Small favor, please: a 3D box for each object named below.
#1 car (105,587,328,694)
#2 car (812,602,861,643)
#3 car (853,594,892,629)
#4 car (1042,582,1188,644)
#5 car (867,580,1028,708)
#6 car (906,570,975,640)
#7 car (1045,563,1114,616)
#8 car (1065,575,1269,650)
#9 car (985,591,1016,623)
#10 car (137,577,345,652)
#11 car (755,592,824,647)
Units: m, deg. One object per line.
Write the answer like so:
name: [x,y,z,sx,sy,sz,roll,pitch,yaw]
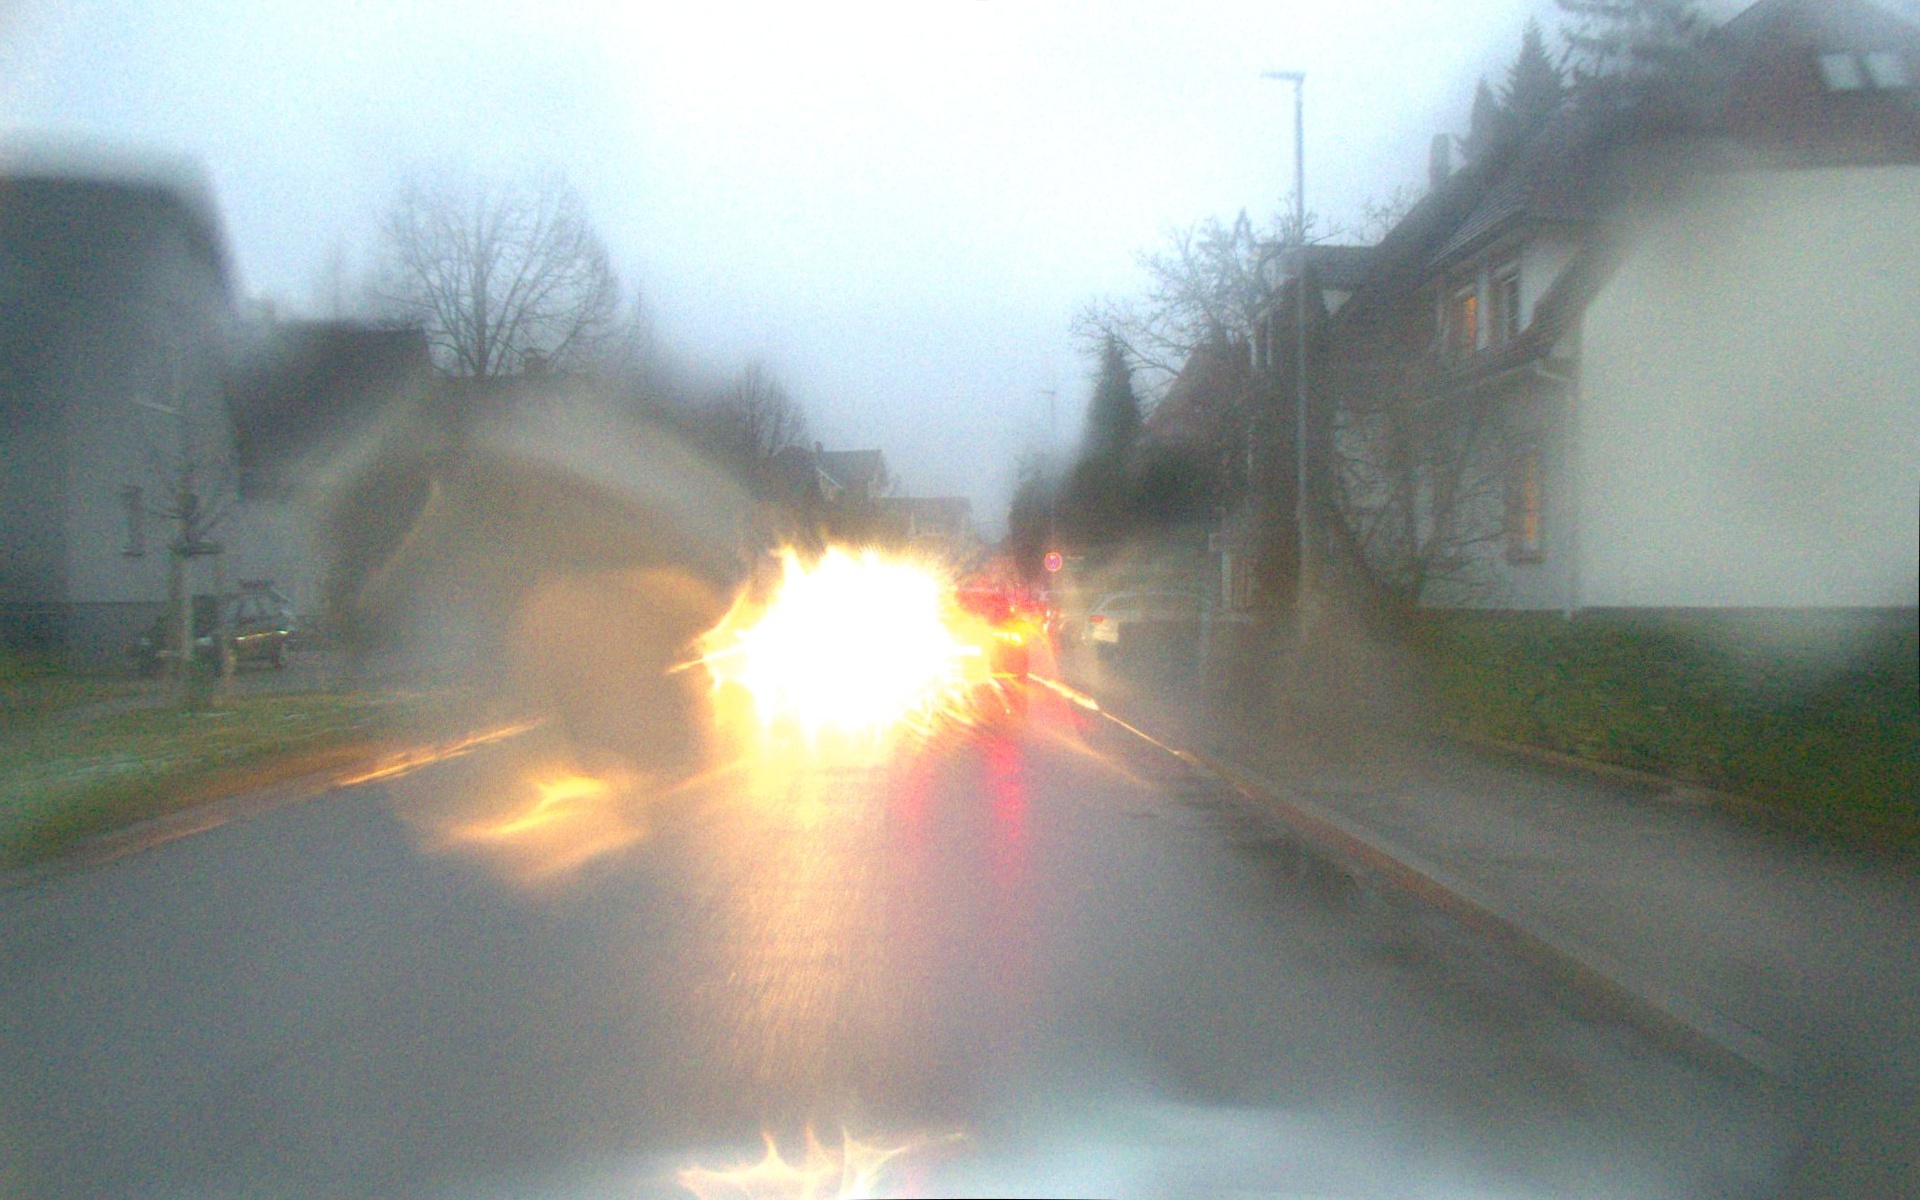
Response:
car: [-13.345,0.683,30.034,1.952,1.786,4.568,0,0,0]
car: [-4.686,0.840,63.215,1.669,1.466,4.423,-2,0,-2]
car: [-4.372,0.569,83.184,1.777,1.661,4.223,-1,0,-1]
car: [4.474,0.390,48.103,4.019,1.736,1.999,0,-1,-2]
car: [-0.217,0.534,22.212,1.953,1.552,3.998,1,0,-2]
car: [-0.563,0.157,51.217,1.952,2.049,4.000,1,0,1]
car: [3.885,-0.347,54.433,1.854,1.581,4.755,-2,0,0]
car: [4.803,0.276,38.876,4.634,1.658,1.908,-1,0,3]
car: [2.726,0.448,110.500,1.952,2.049,4.002,-1,0,3]
car: [-18.200,0.363,41.973,4.455,1.831,1.913,0,0,7]
car: [-4.883,0.536,47.865,1.669,1.466,3.998,-2,0,-2]
